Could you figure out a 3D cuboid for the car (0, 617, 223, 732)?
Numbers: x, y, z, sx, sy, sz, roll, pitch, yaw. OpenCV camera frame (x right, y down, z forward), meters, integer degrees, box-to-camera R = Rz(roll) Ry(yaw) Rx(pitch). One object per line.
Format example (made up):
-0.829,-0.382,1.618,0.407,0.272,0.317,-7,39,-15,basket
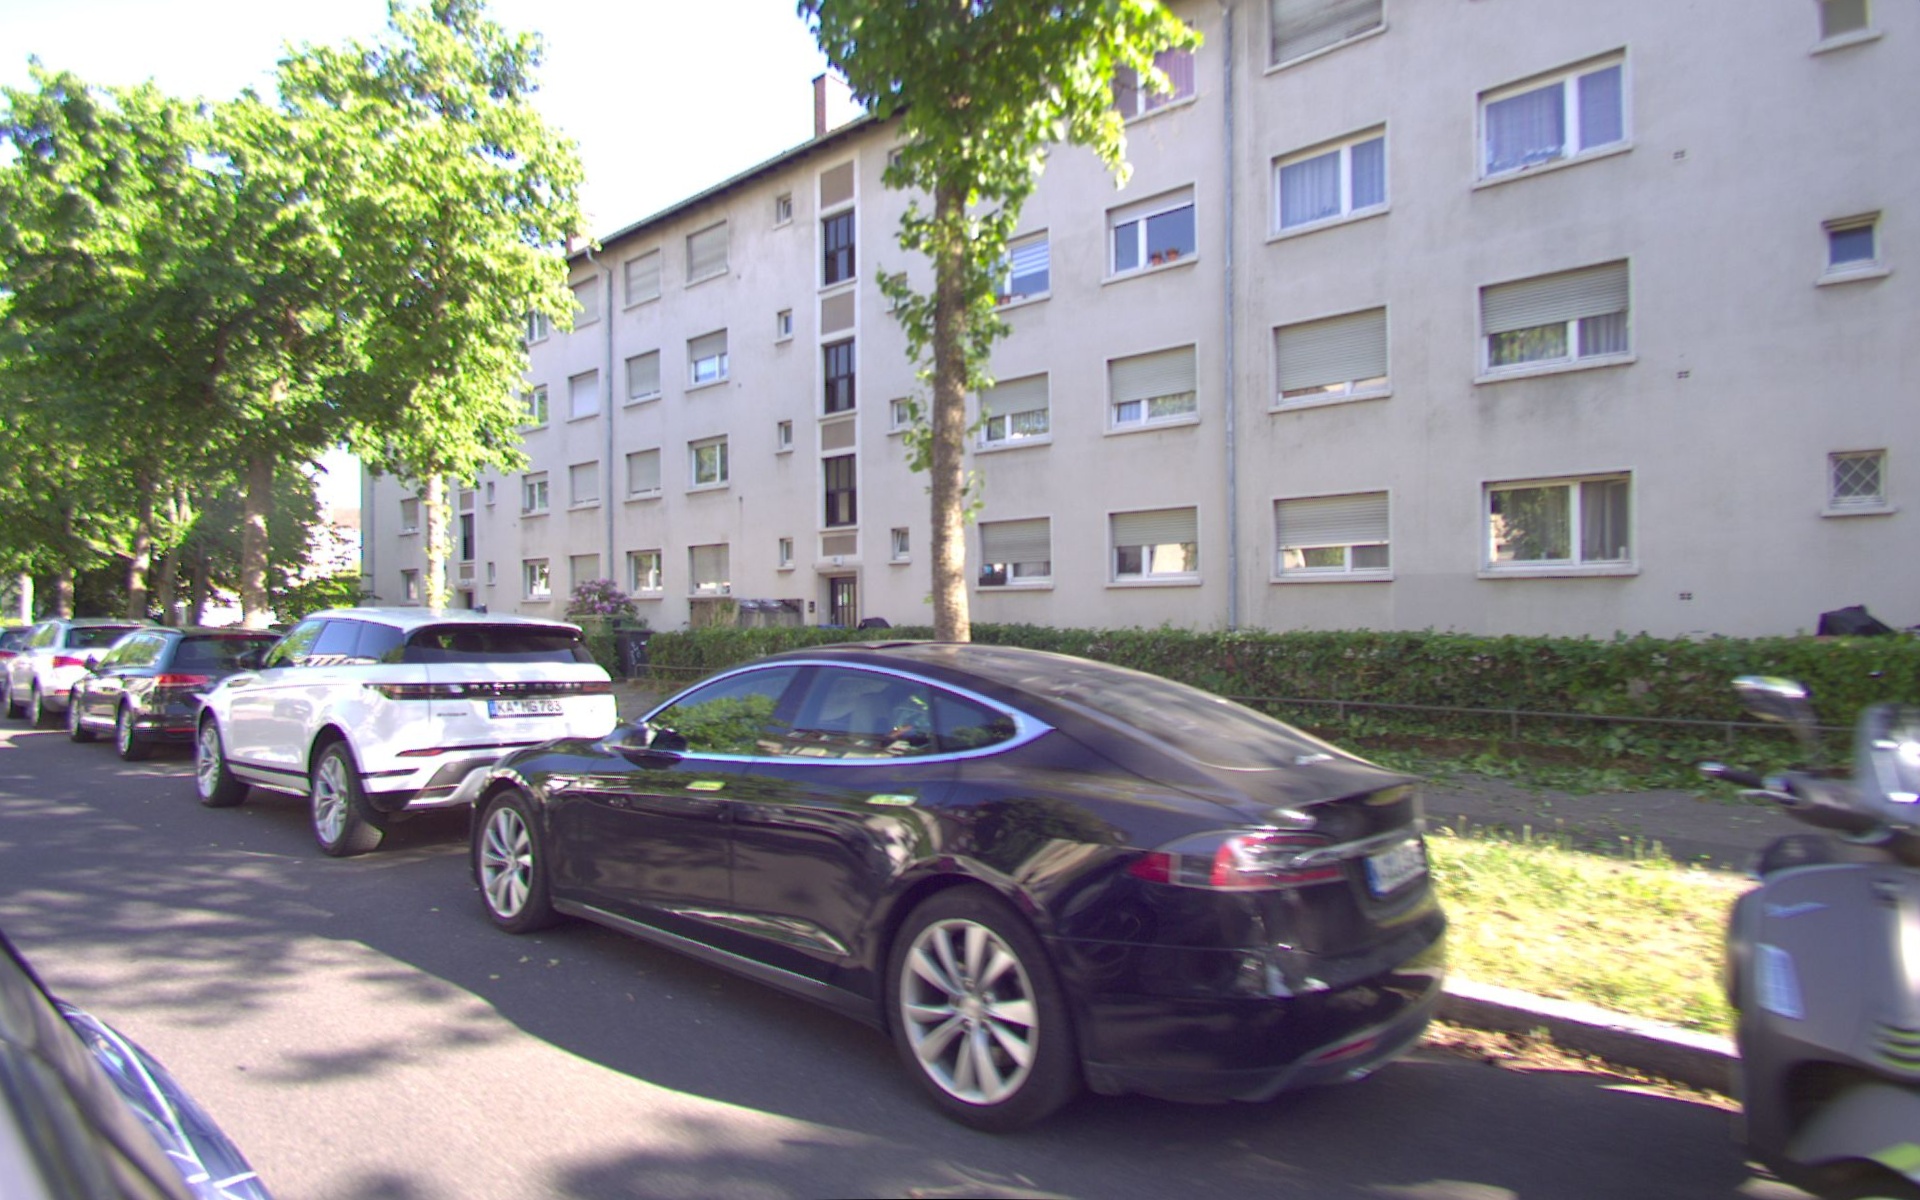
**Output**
-13.544,1.064,15.803,4.714,1.536,2.045,-2,-2,37,car

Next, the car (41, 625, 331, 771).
-9.548,1.079,12.329,4.816,1.458,1.711,-2,-4,40,car

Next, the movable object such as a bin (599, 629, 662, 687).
-6.492,1.128,19.973,0.753,1.100,0.922,-1,-2,35,movable object such as a bin

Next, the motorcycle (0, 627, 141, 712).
-16.473,1.247,18.491,2.202,1.515,0.989,0,-2,1,motorcycle

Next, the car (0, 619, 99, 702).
-19.444,1.187,20.810,4.604,1.536,2.021,-1,-1,41,car

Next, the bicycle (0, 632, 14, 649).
-61.023,2.580,64.716,1.932,1.069,0.566,-1,-1,41,bicycle

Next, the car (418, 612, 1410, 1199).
-0.605,0.875,4.653,4.616,1.489,1.710,-1,-5,41,car

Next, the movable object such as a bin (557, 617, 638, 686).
-7.362,1.029,20.571,1.376,1.334,0.922,-1,-2,35,movable object such as a bin

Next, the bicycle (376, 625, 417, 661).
-19.591,1.484,35.166,1.911,1.210,0.678,-2,-2,42,bicycle

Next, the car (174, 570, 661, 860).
-4.334,0.725,7.781,4.362,1.630,1.711,-1,-4,39,car

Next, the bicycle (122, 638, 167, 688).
-18.944,1.443,23.493,0.525,1.022,2.092,-9,5,-44,bicycle

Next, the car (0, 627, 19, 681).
-28.065,1.510,28.494,4.179,1.481,1.837,-2,-2,41,car

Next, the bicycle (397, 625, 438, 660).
-19.129,1.480,35.692,1.911,1.210,0.678,-2,-2,42,bicycle

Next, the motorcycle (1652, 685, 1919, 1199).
2.368,0.904,2.557,0.805,1.280,2.269,-1,-3,30,motorcycle

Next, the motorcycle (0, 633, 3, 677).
-30.455,1.675,30.776,1.929,1.342,0.788,1,-2,-42,motorcycle

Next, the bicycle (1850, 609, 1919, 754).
8.973,0.699,8.688,1.978,1.240,1.082,-2,-2,42,bicycle
